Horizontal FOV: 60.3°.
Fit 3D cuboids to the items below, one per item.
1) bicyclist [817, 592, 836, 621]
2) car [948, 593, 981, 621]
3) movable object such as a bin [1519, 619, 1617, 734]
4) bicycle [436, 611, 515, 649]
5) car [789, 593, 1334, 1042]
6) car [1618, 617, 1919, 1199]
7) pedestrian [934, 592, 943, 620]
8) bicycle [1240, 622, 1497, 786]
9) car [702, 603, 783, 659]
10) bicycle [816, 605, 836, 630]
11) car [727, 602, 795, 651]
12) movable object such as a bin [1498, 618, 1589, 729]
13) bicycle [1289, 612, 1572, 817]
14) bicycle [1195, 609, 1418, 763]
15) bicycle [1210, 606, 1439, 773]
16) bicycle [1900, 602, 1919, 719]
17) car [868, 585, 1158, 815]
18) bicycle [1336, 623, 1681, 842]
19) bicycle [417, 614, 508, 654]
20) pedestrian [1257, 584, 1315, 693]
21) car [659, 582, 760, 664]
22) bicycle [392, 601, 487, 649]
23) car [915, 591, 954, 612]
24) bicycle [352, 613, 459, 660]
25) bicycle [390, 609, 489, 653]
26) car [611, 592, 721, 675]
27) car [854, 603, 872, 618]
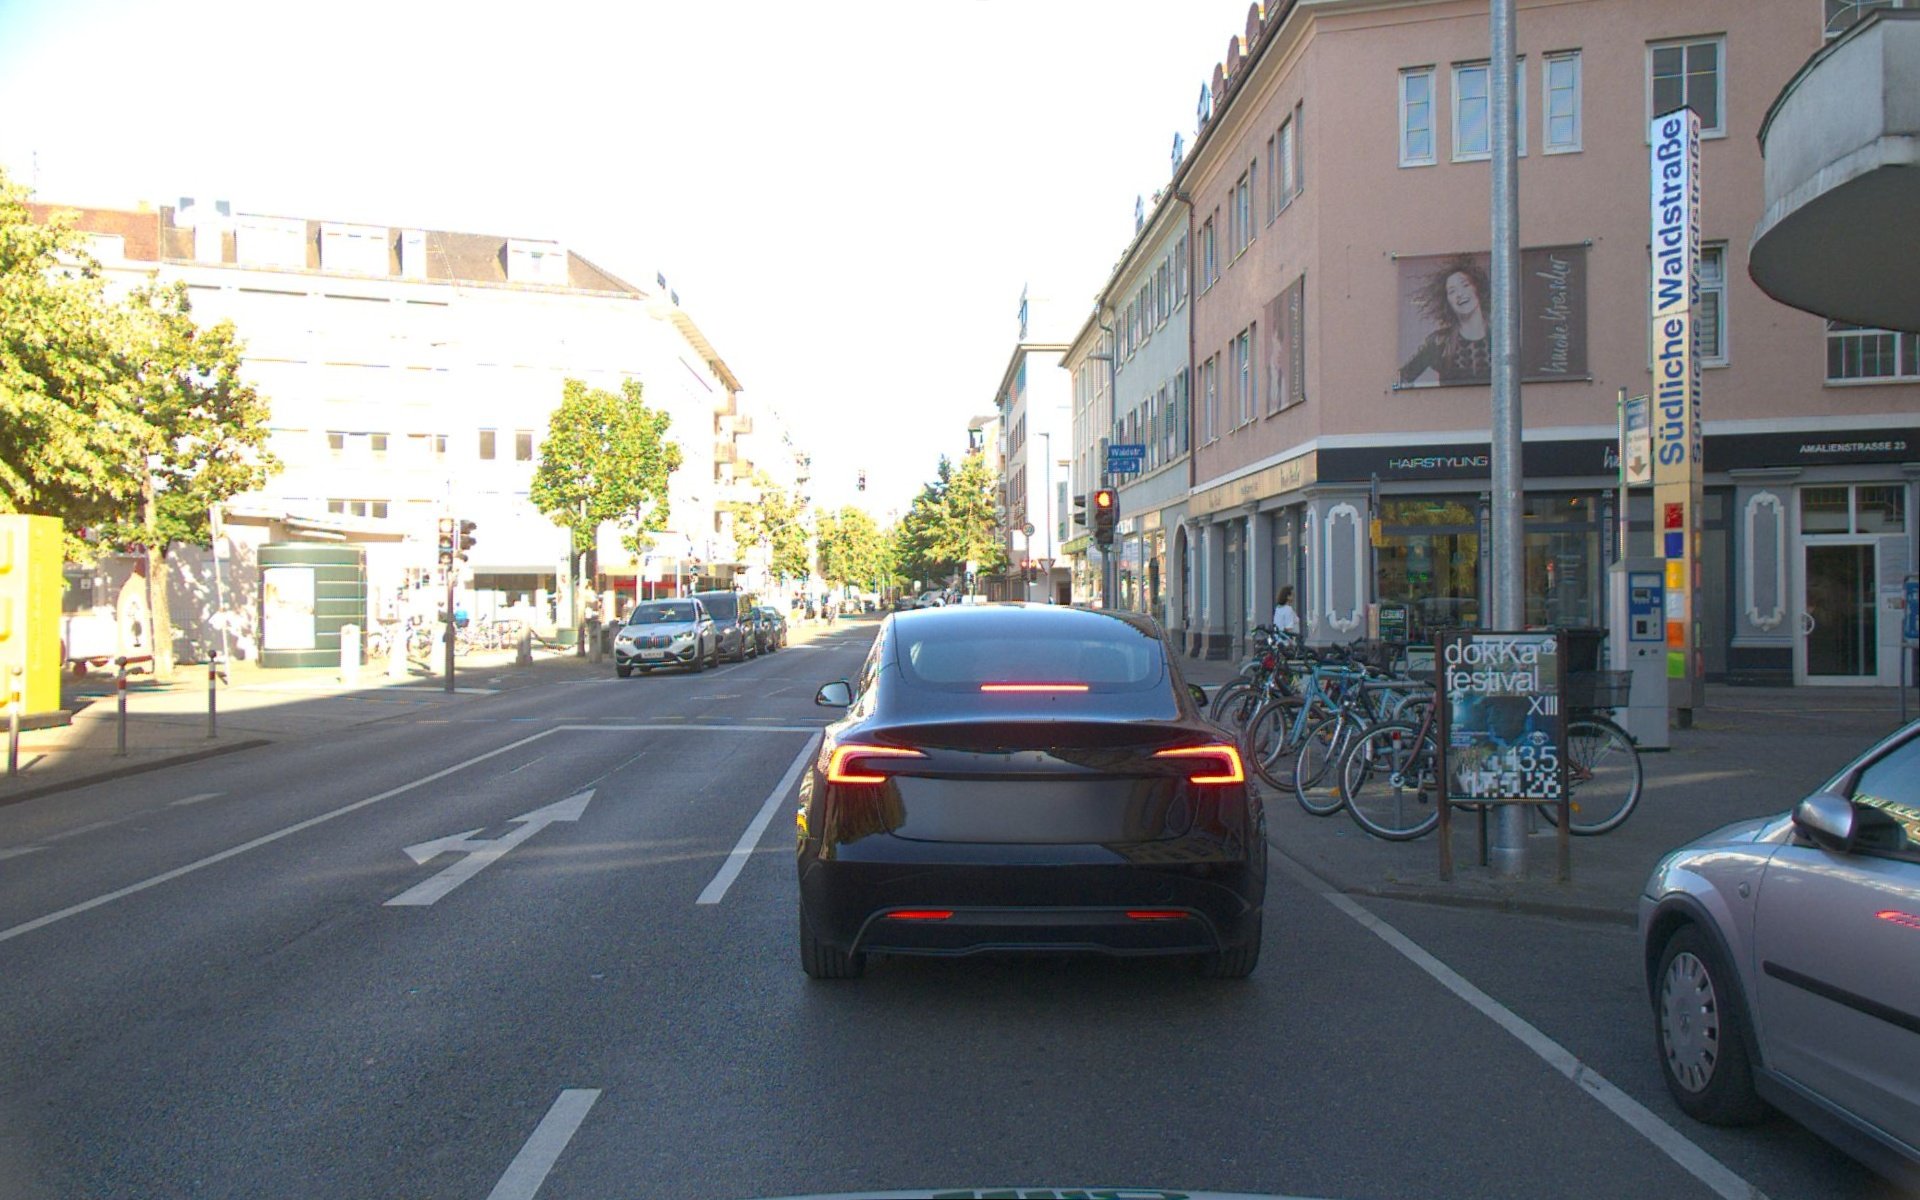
[{"bbox_3d":[-7.716,0.372,95.496,1.104,1.657,0.964,0,0,-4],"label":"bicyclist"},{"bbox_3d":[0.276,0.413,100.838,1.953,1.657,3.999,0,0,-1],"label":"car"},{"bbox_3d":[6.042,0.750,16.466,0.737,1.111,0.627,1,0,1],"label":"movable object such as a bin"},{"bbox_3d":[-15.216,0.941,51.990,2.279,1.176,0.841,0,0,-6],"label":"bicycle"},{"bbox_3d":[0.312,0.725,7.498,1.810,1.480,3.999,0,0,-1],"label":"car"},{"bbox_3d":[2.929,0.780,3.519,1.580,1.406,3.642,1,0,0],"label":"car"},{"bbox_3d":[-1.566,0.473,121.322,0.628,2.049,0.690,0,0,-5],"label":"pedestrian"},{"bbox_3d":[3.054,0.773,12.509,1.760,1.144,0.782,-2,0,5],"label":"bicycle"},{"bbox_3d":[-6.424,0.885,49.326,1.954,1.434,4.671,-4,0,-3],"label":"car"},{"bbox_3d":[-7.700,0.999,95.403,1.089,1.368,3.997,0,0,-4],"label":"bicycle"},{"bbox_3d":[-6.807,0.873,56.911,1.954,1.461,4.671,-4,0,-3],"label":"car"},{"bbox_3d":[6.021,0.752,17.103,0.718,1.111,0.627,1,0,1],"label":"movable object such as a bin"},{"bbox_3d":[3.137,0.751,11.159,1.686,1.290,0.791,-2,0,5],"label":"bicycle"},{"bbox_3d":[3.050,0.750,14.718,1.822,1.280,0.833,-2,0,5],"label":"bicycle"},{"bbox_3d":[2.985,0.723,13.687,1.709,1.289,0.781,-2,0,2],"label":"bicycle"},{"bbox_3d":[10.295,0.636,17.010,0.645,1.220,2.212,0,0,18],"label":"bicycle"},{"bbox_3d":[0.285,0.669,13.207,1.953,1.538,4.173,0,0,-2],"label":"car"},{"bbox_3d":[3.284,0.785,10.029,1.846,1.214,0.692,-2,1,5],"label":"bicycle"},{"bbox_3d":[-14.892,1.015,49.567,2.485,1.176,0.841,0,0,-6],"label":"bicycle"},{"bbox_3d":[4.798,0.564,24.378,0.731,1.579,0.699,0,0,1],"label":"pedestrian"},{"bbox_3d":[-6.370,0.538,42.504,1.797,1.877,4.674,-4,0,0],"label":"car"},{"bbox_3d":[-14.714,0.697,46.813,2.429,1.347,0.921,0,0,-6],"label":"bicycle"},{"bbox_3d":[-2.572,0.158,167.517,3.907,2.049,1.999,0,0,-2],"label":"car"},{"bbox_3d":[-14.193,0.923,42.356,2.455,1.176,0.842,0,0,-2],"label":"bicycle"},{"bbox_3d":[-14.106,0.842,44.890,2.412,1.176,0.842,0,0,-2],"label":"bicycle"},{"bbox_3d":[-6.386,0.689,36.304,1.771,1.582,4.307,-4,0,-3],"label":"car"},{"bbox_3d":[-10.986,1.210,186.894,1.954,1.666,3.997,0,0,-4],"label":"car"}]
